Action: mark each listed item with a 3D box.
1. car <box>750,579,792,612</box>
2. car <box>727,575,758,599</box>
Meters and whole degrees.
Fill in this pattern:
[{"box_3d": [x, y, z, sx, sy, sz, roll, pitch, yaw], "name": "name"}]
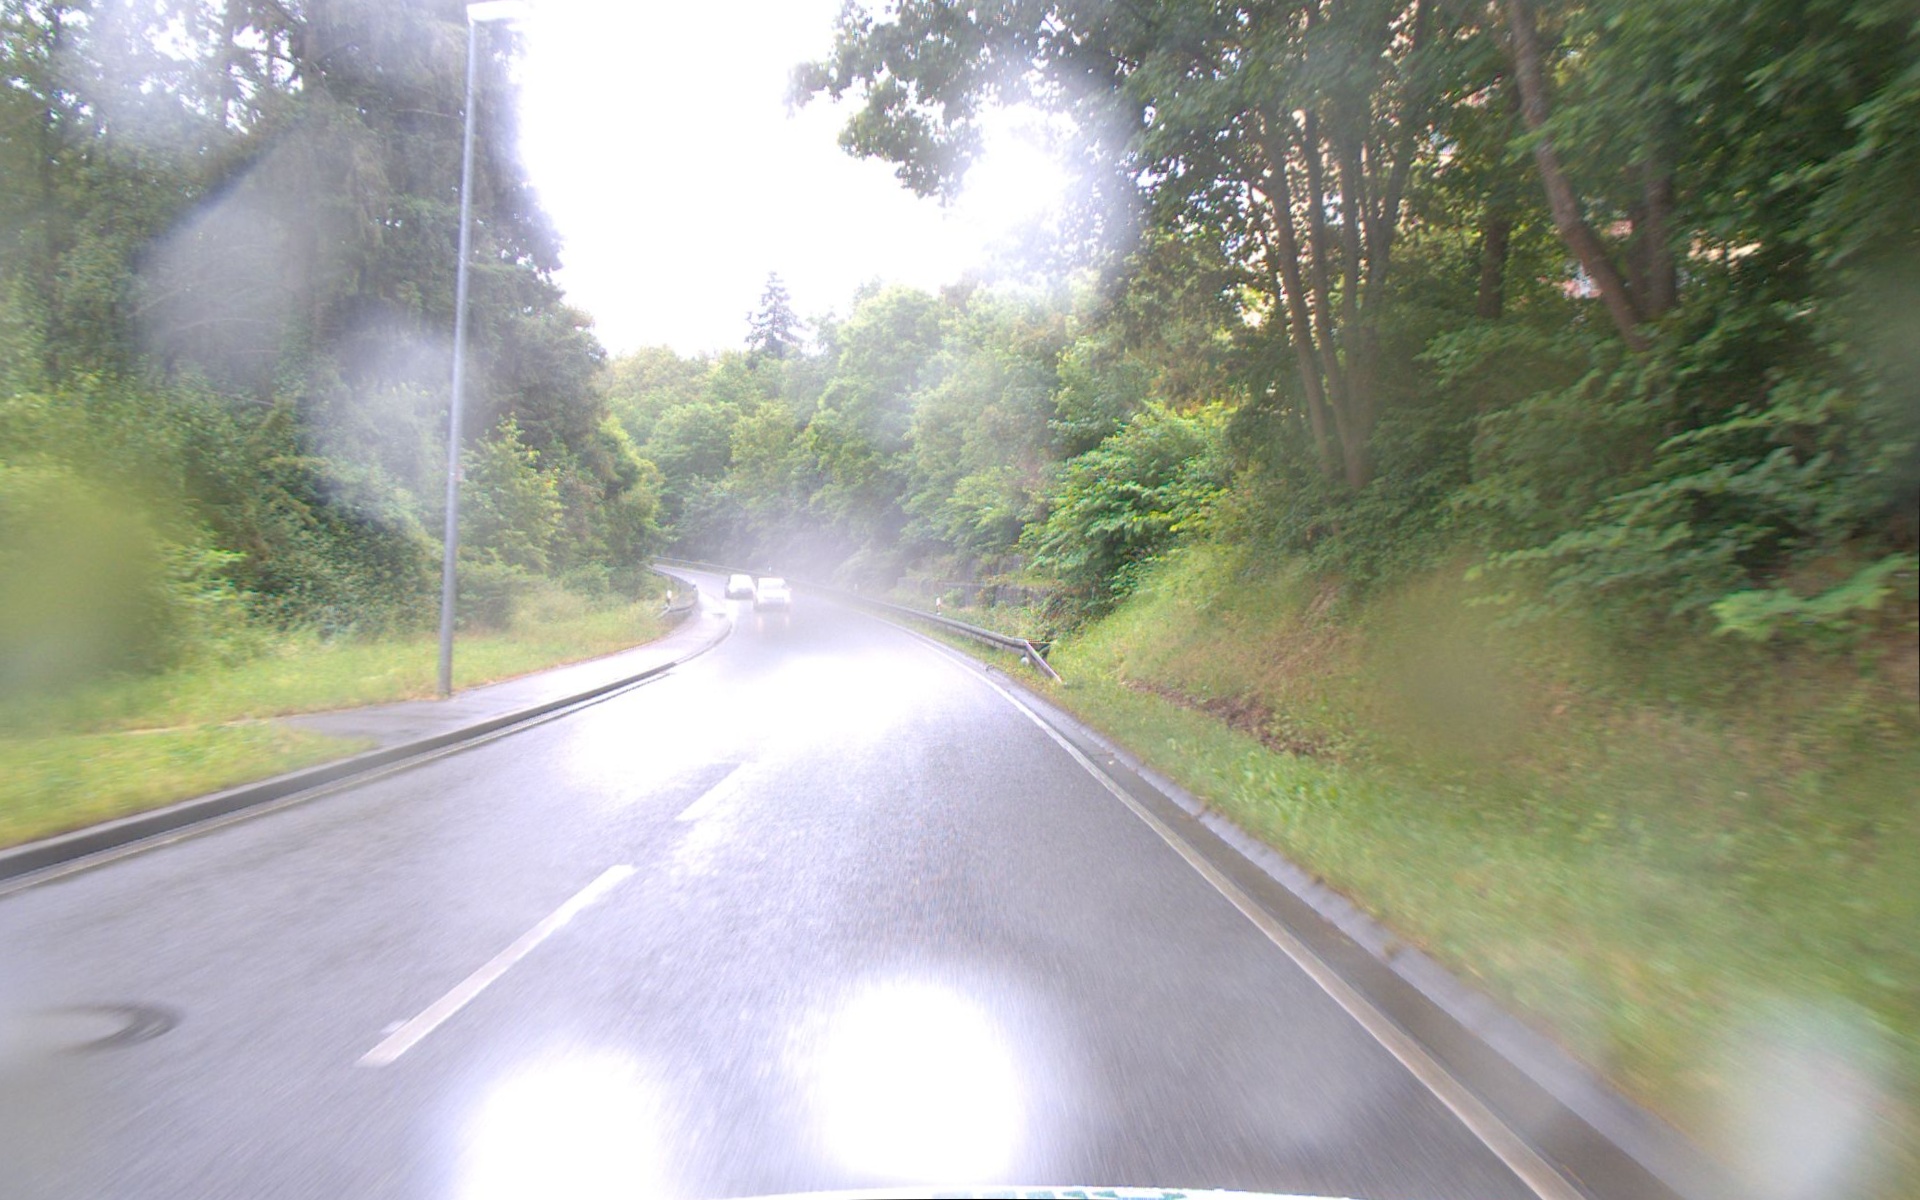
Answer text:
[{"box_3d": [-9.777, -0.222, 85.455, 1.782, 1.676, 4.119, 0, 0, -12], "name": "car"}, {"box_3d": [-13.806, -0.808, 104.661, 1.781, 1.459, 3.990, 0, 0, -10], "name": "car"}]
